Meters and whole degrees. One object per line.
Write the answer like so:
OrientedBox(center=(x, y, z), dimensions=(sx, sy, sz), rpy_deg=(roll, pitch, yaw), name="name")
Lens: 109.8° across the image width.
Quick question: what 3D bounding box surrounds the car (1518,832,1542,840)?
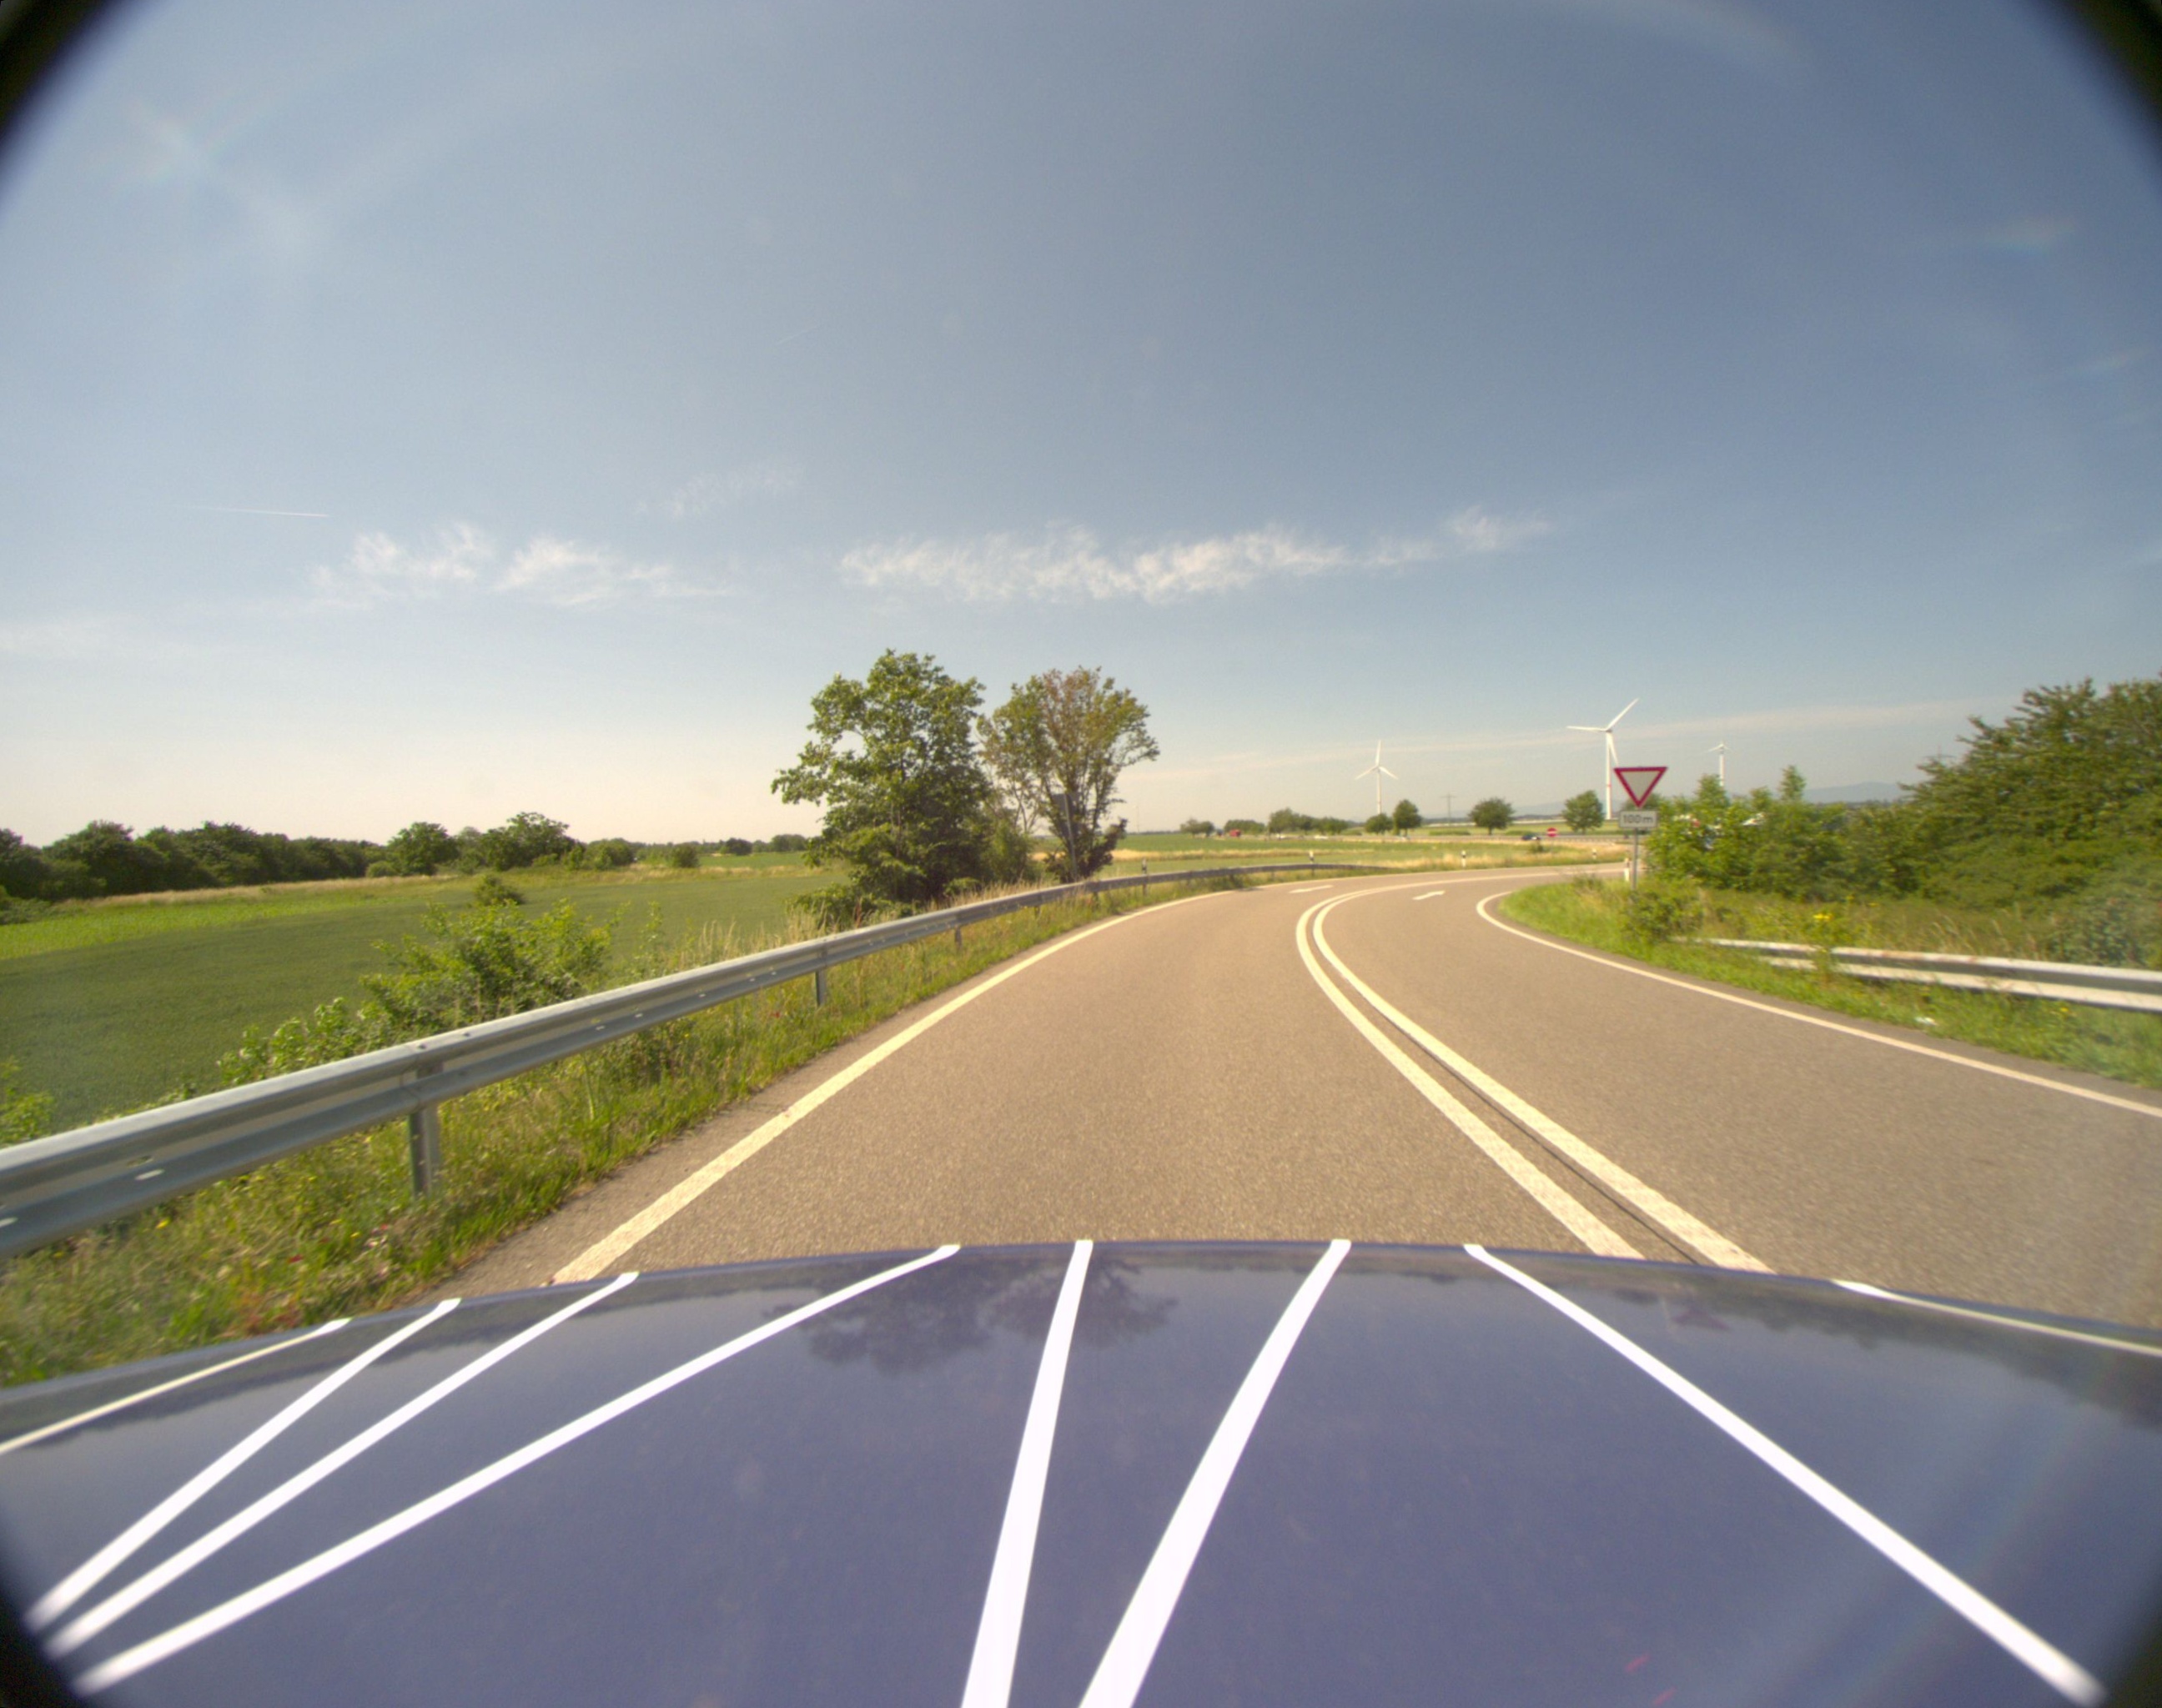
OrientedBox(center=(82.601, -3.296, 139.888), dimensions=(1.681, 1.347, 3.996), rpy_deg=(-1, 2, -7), name="car")
